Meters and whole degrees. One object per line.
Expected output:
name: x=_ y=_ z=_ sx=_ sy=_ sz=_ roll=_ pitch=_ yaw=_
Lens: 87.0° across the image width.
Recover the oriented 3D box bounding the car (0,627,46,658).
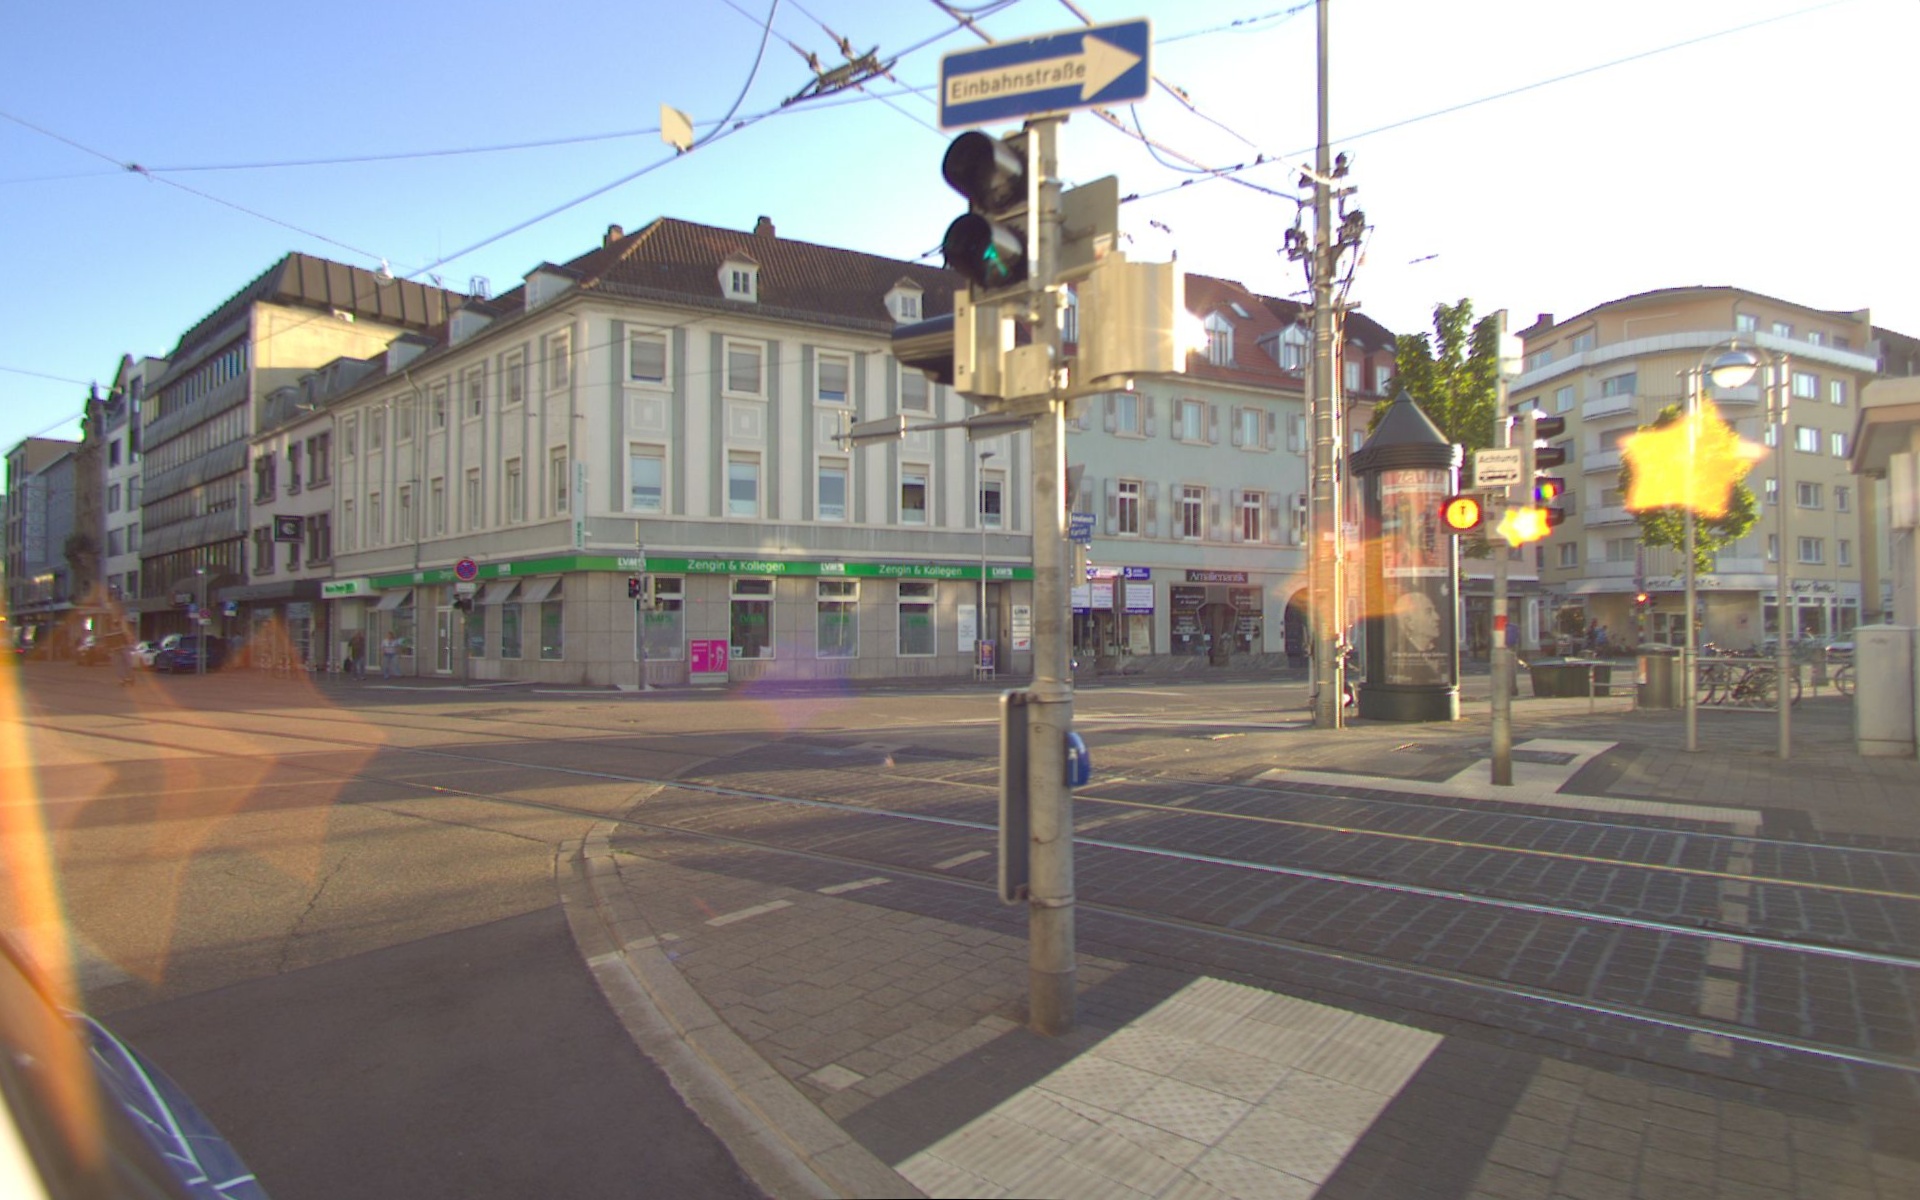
car: x=-65.496 y=2.958 z=70.677 sx=3.998 sy=2.029 sz=1.973 roll=0 pitch=-1 yaw=41

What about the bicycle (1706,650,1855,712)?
bicycle: x=15.037 y=1.459 z=18.635 sx=0.550 sy=1.051 sz=2.160 roll=1 pitch=-3 yaw=-18

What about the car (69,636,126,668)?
car: x=-48.127 y=2.871 z=56.432 sx=3.998 sy=1.569 sz=1.796 roll=0 pitch=-1 yaw=41

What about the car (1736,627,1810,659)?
car: x=40.005 y=2.099 z=49.777 sx=3.294 sy=1.495 sz=1.555 roll=1 pitch=-3 yaw=-27

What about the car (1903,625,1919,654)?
car: x=53.722 y=2.188 z=56.005 sx=2.838 sy=1.594 sz=1.315 roll=1 pitch=-2 yaw=-27

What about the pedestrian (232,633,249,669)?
pedestrian: x=-34.775 y=2.452 z=48.900 sx=0.600 sy=1.747 sz=0.509 roll=0 pitch=-1 yaw=40

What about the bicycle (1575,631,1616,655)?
bicycle: x=33.428 y=2.257 z=53.290 sx=0.492 sy=1.213 sz=2.129 roll=1 pitch=-1 yaw=-11

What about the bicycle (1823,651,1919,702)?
bicycle: x=19.067 y=1.550 z=20.738 sx=0.550 sy=0.989 sz=2.091 roll=1 pitch=-3 yaw=-18

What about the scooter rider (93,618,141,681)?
scooter rider: x=-24.673 y=1.435 z=29.631 sx=0.801 sy=1.821 sz=0.789 roll=-1 pitch=-1 yaw=-6

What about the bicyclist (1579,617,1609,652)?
bicyclist: x=33.416 y=1.804 z=53.317 sx=0.752 sy=1.804 sz=1.135 roll=1 pitch=-1 yaw=-11

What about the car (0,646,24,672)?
car: x=-56.321 y=3.457 z=59.113 sx=4.540 sy=1.491 sz=1.870 roll=-4 pitch=-5 yaw=41

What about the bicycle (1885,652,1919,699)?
bicycle: x=20.610 y=1.575 z=20.997 sx=0.550 sy=0.984 sz=2.051 roll=1 pitch=-3 yaw=-18

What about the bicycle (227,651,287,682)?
bicycle: x=-25.247 y=2.388 z=36.387 sx=1.716 sy=1.067 sz=0.499 roll=1 pitch=-4 yaw=-41

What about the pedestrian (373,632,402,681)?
pedestrian: x=-19.678 y=1.939 z=34.768 sx=0.814 sy=1.653 sz=0.816 roll=0 pitch=-2 yaw=-33

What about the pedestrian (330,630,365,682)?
pedestrian: x=-21.259 y=1.928 z=35.147 sx=0.813 sy=1.741 sz=0.817 roll=-2 pitch=-2 yaw=40

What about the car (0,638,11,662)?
car: x=-83.199 y=4.266 z=87.017 sx=3.997 sy=1.932 sz=1.810 roll=0 pitch=-1 yaw=40

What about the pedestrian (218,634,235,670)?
pedestrian: x=-35.123 y=2.466 z=48.481 sx=0.583 sy=1.697 sz=0.503 roll=0 pitch=-1 yaw=39

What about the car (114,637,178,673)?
car: x=-39.292 y=2.654 z=48.818 sx=3.997 sy=1.636 sz=1.680 roll=-2 pitch=-2 yaw=40

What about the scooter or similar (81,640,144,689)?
scooter or similar: x=-24.660 y=1.855 z=29.480 sx=0.538 sy=1.361 sz=1.671 roll=0 pitch=-2 yaw=-5

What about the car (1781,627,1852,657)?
car: x=43.304 y=2.129 z=51.177 sx=3.294 sy=1.480 sz=1.555 roll=1 pitch=-2 yaw=-27

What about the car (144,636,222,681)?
car: x=-34.604 y=2.551 z=45.037 sx=4.126 sy=1.809 sz=1.891 roll=-1 pitch=-1 yaw=40

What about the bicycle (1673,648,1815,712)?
bicycle: x=14.004 y=1.406 z=18.164 sx=0.550 sy=1.052 sz=2.033 roll=1 pitch=-3 yaw=-18

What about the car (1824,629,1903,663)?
car: x=41.123 y=2.082 z=46.074 sx=3.294 sy=1.479 sz=1.555 roll=1 pitch=-2 yaw=-27
